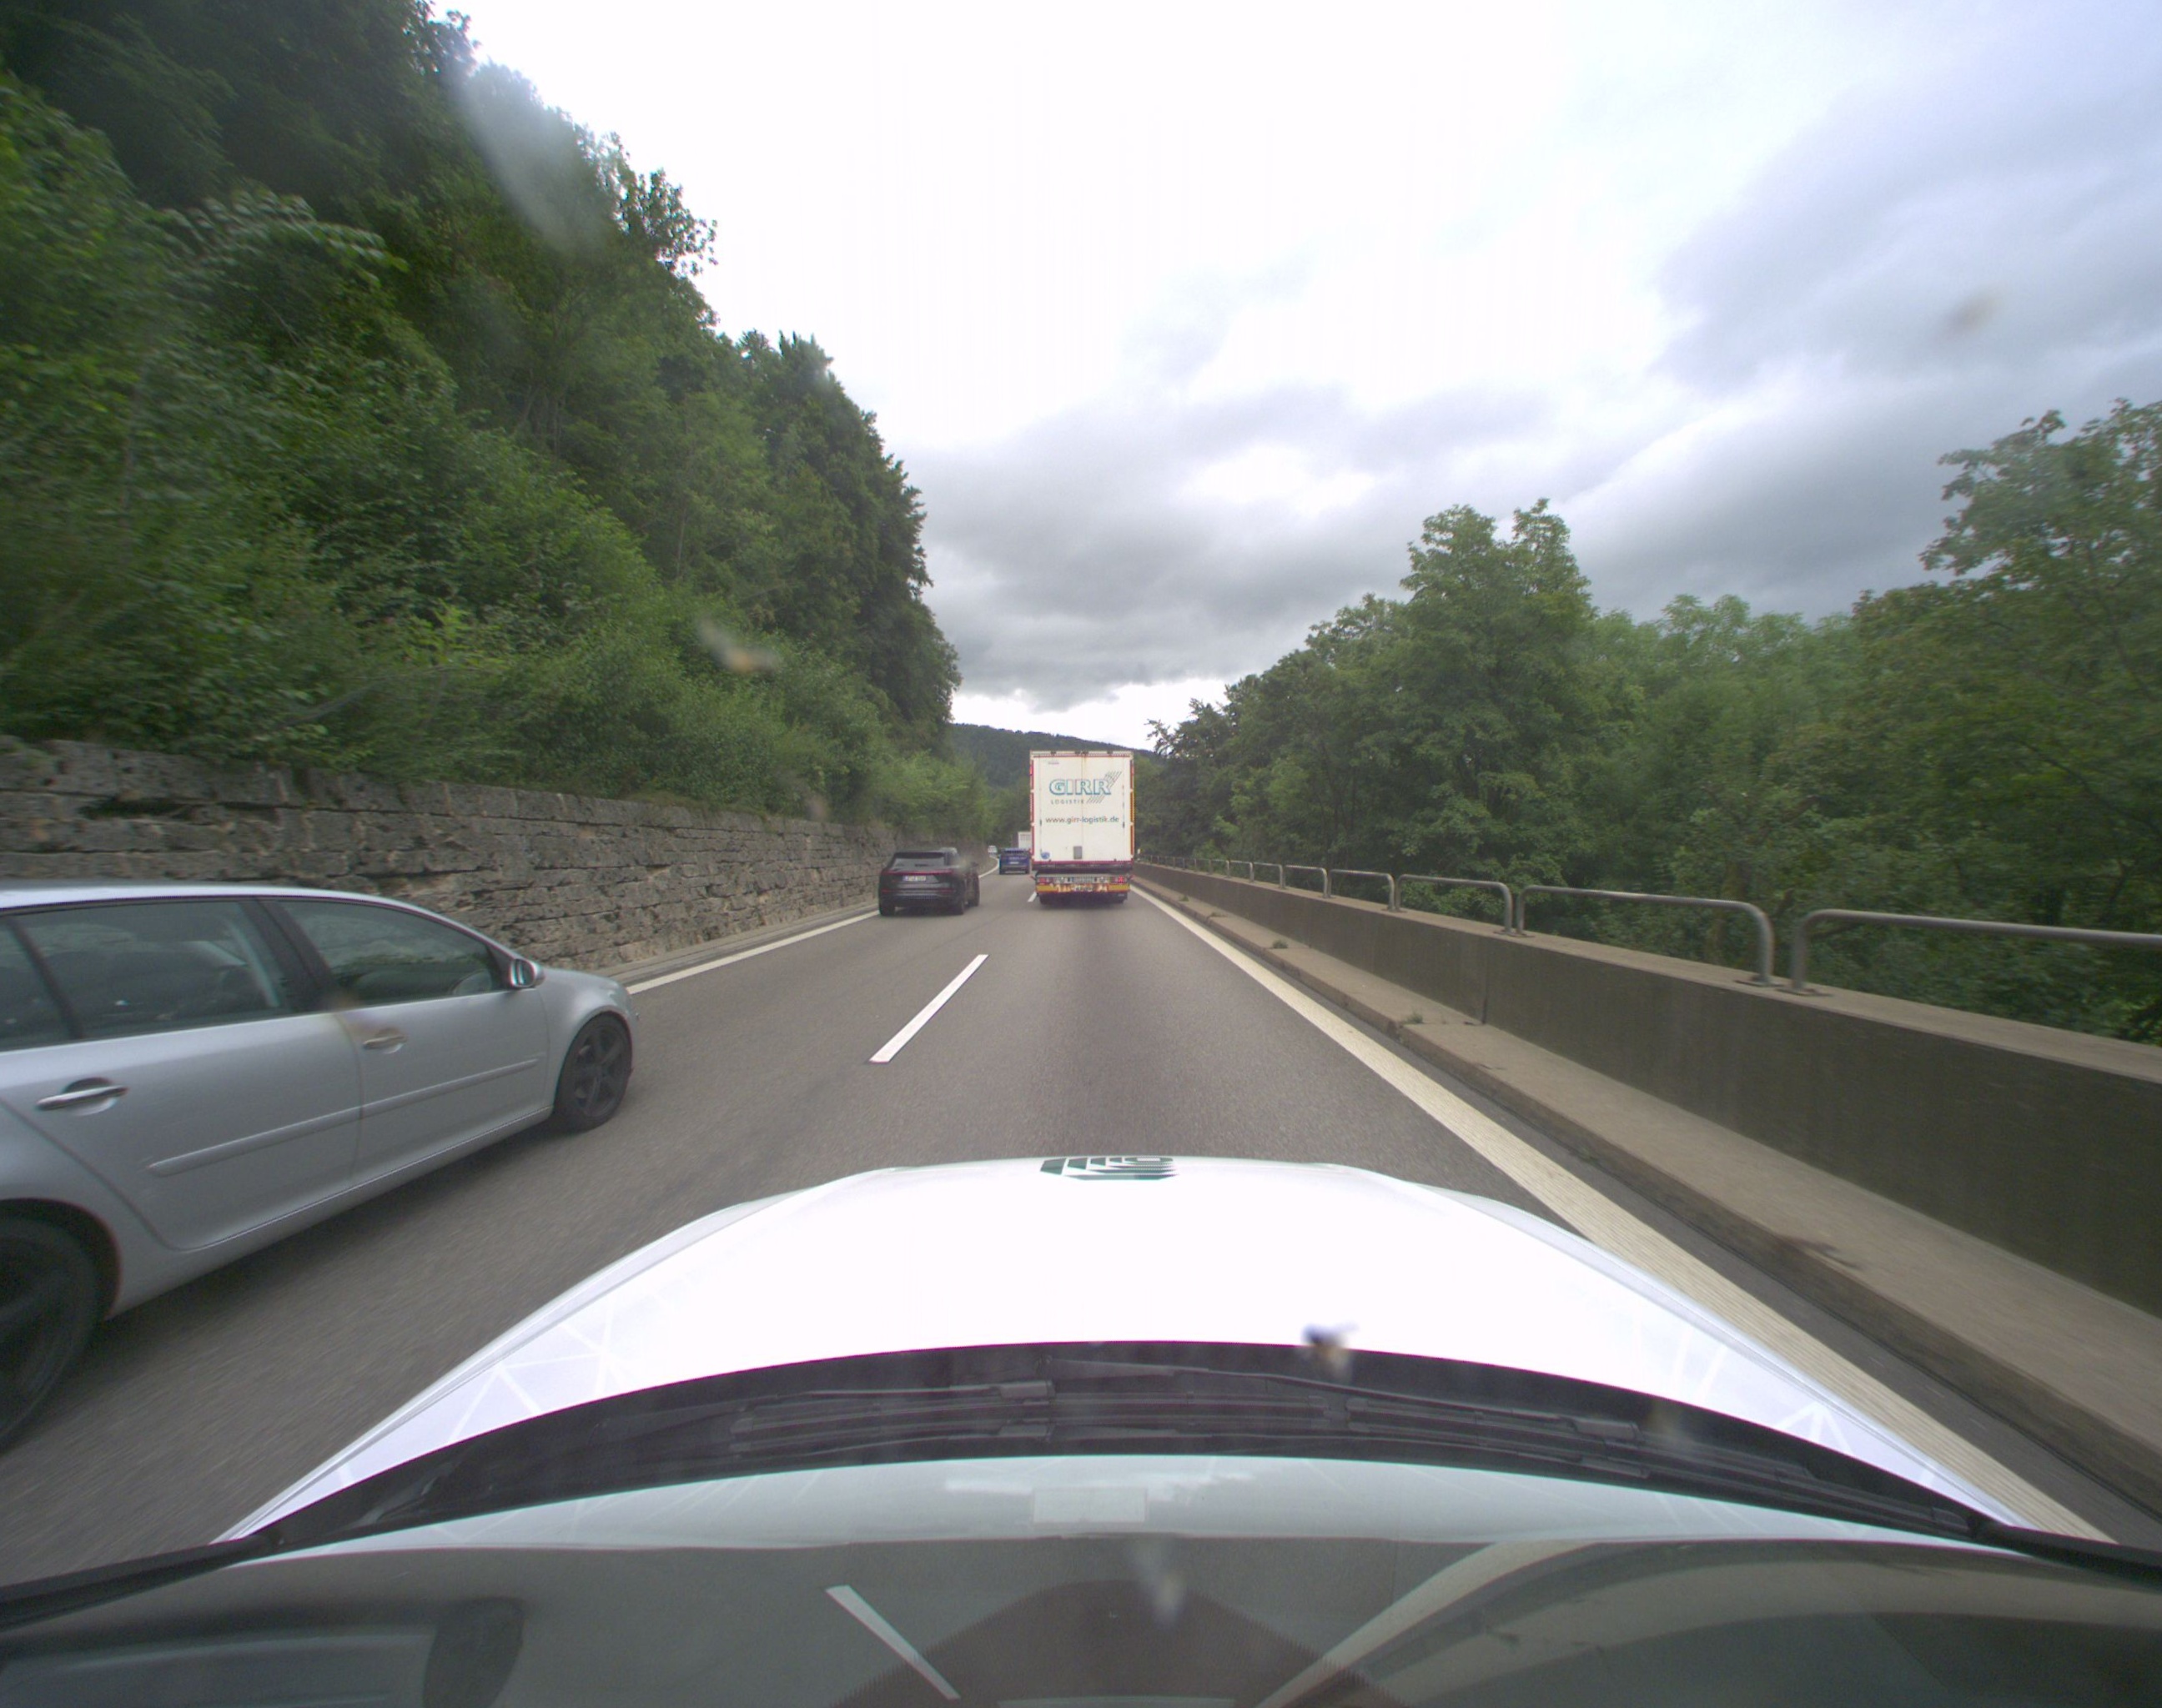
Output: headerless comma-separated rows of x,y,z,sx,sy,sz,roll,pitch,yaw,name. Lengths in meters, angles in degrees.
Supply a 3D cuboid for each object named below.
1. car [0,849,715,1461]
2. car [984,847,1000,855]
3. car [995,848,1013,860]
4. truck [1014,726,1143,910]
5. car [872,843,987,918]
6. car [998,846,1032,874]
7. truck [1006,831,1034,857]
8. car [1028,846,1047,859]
-3.500,0.766,3.523,1.675,1.515,4.584,-1,0,1,car
-16.476,-0.552,150.431,1.903,1.550,4.221,0,0,-20,car
-11.192,-0.032,117.622,1.996,1.596,4.334,-2,1,-13,car
-0.146,-0.918,27.476,3.075,4.464,15.149,-1,0,-1,truck
-3.678,0.576,20.735,1.987,1.632,5.007,-1,0,0,car
-4.129,0.320,51.142,1.990,1.632,5.001,-1,0,-4,car
-9.794,-1.486,129.545,2.637,3.857,12.305,-1,0,-13,truck
-5.790,-0.236,107.415,2.060,1.654,3.987,-1,0,-9,car
